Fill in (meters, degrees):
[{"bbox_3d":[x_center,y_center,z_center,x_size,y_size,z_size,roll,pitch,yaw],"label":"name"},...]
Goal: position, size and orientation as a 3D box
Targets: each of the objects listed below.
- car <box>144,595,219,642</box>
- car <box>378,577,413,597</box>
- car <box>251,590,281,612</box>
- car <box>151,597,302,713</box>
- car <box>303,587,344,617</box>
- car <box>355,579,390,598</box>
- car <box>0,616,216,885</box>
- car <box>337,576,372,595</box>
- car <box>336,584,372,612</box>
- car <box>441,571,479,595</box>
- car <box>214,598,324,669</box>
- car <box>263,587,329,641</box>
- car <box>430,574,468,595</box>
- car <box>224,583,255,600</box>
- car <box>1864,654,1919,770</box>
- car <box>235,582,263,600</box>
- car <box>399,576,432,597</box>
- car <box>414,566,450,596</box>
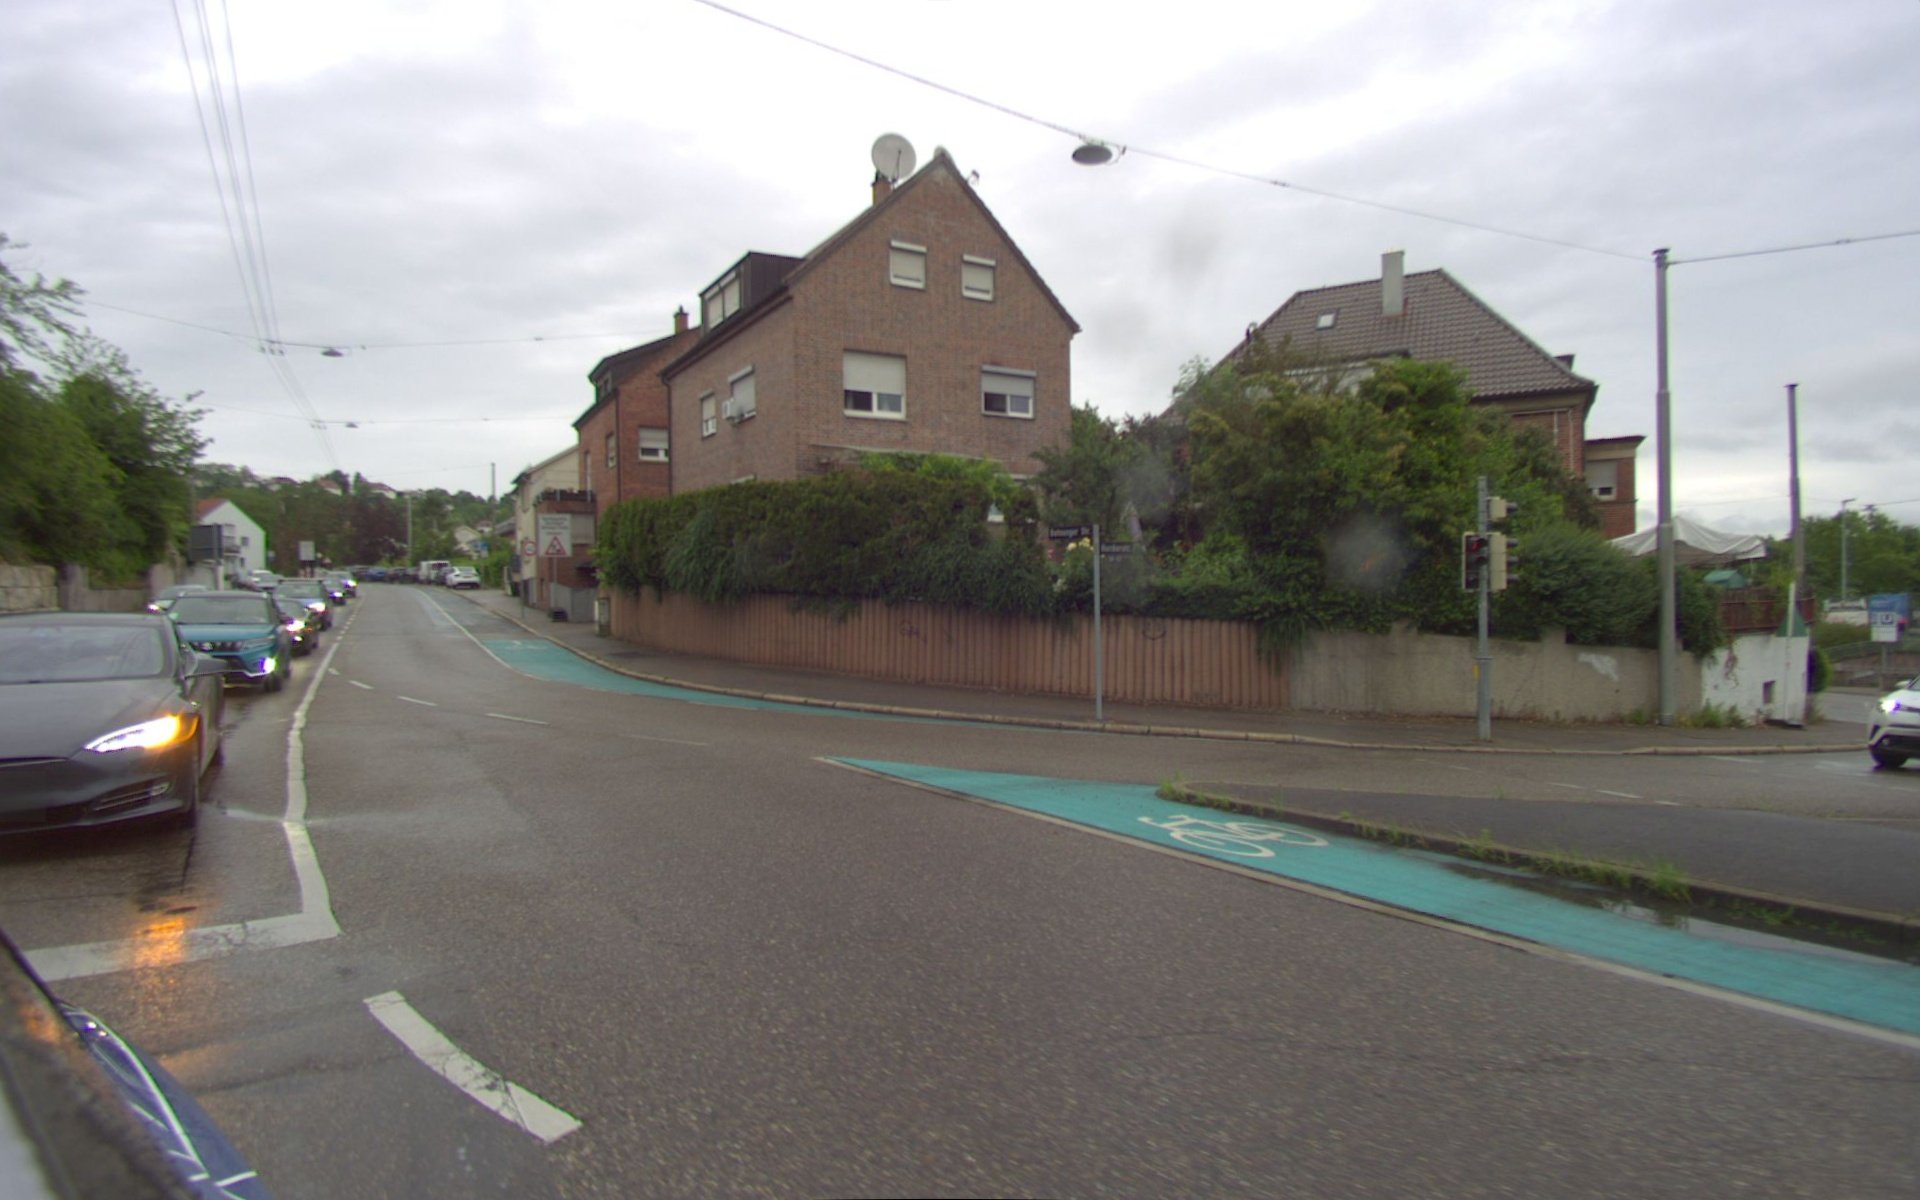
[{"bbox_3d":[-27.336,0.599,35.630,1.526,1.462,3.376,-2,2,-28],"label":"car"},{"bbox_3d":[-52.684,-1.173,94.399,1.747,1.772,4.327,-2,1,-44],"label":"car"},{"bbox_3d":[-46.932,0.045,68.432,1.589,1.410,3.374,-2,2,-35],"label":"car"},{"bbox_3d":[-11.969,0.786,16.634,1.772,1.622,4.051,-2,1,-35],"label":"car"},{"bbox_3d":[-33.013,0.113,52.457,1.730,1.471,4.052,0,-1,-34],"label":"car"},{"bbox_3d":[-57.315,-1.128,98.669,4.324,1.772,1.748,-1,1,43],"label":"car"},{"bbox_3d":[-6.589,0.868,7.268,1.806,1.402,4.335,-2,1,-34],"label":"car"},{"bbox_3d":[-61.034,-1.447,102.017,4.321,1.772,1.750,-1,1,40],"label":"car"},{"bbox_3d":[-39.214,-0.131,65.494,1.730,1.661,4.052,-4,2,-33],"label":"car"},{"bbox_3d":[-37.036,-1.234,74.913,1.918,1.622,4.462,-2,1,-34],"label":"car"},{"bbox_3d":[-16.577,0.738,24.459,1.729,1.471,4.055,0,1,-28],"label":"car"},{"bbox_3d":[-21.937,0.443,33.455,1.730,1.662,4.052,0,-1,-34],"label":"car"},{"bbox_3d":[-40.688,-1.207,80.502,1.919,1.622,4.460,-2,1,-37],"label":"car"},{"bbox_3d":[-60.886,-0.734,85.463,1.592,1.410,3.367,-2,3,-45],"label":"car"},{"bbox_3d":[14.360,1.495,13.724,4.186,1.478,1.718,2,-2,-27],"label":"car"},{"bbox_3d":[-57.110,-0.731,81.274,1.590,1.410,3.371,-2,2,-40],"label":"car"},{"bbox_3d":[-48.890,-1.199,90.770,1.745,1.772,4.331,-2,1,-40],"label":"car"},{"bbox_3d":[-45.113,-1.613,86.503,1.980,2.475,4.460,-2,1,-37],"label":"car"}]
